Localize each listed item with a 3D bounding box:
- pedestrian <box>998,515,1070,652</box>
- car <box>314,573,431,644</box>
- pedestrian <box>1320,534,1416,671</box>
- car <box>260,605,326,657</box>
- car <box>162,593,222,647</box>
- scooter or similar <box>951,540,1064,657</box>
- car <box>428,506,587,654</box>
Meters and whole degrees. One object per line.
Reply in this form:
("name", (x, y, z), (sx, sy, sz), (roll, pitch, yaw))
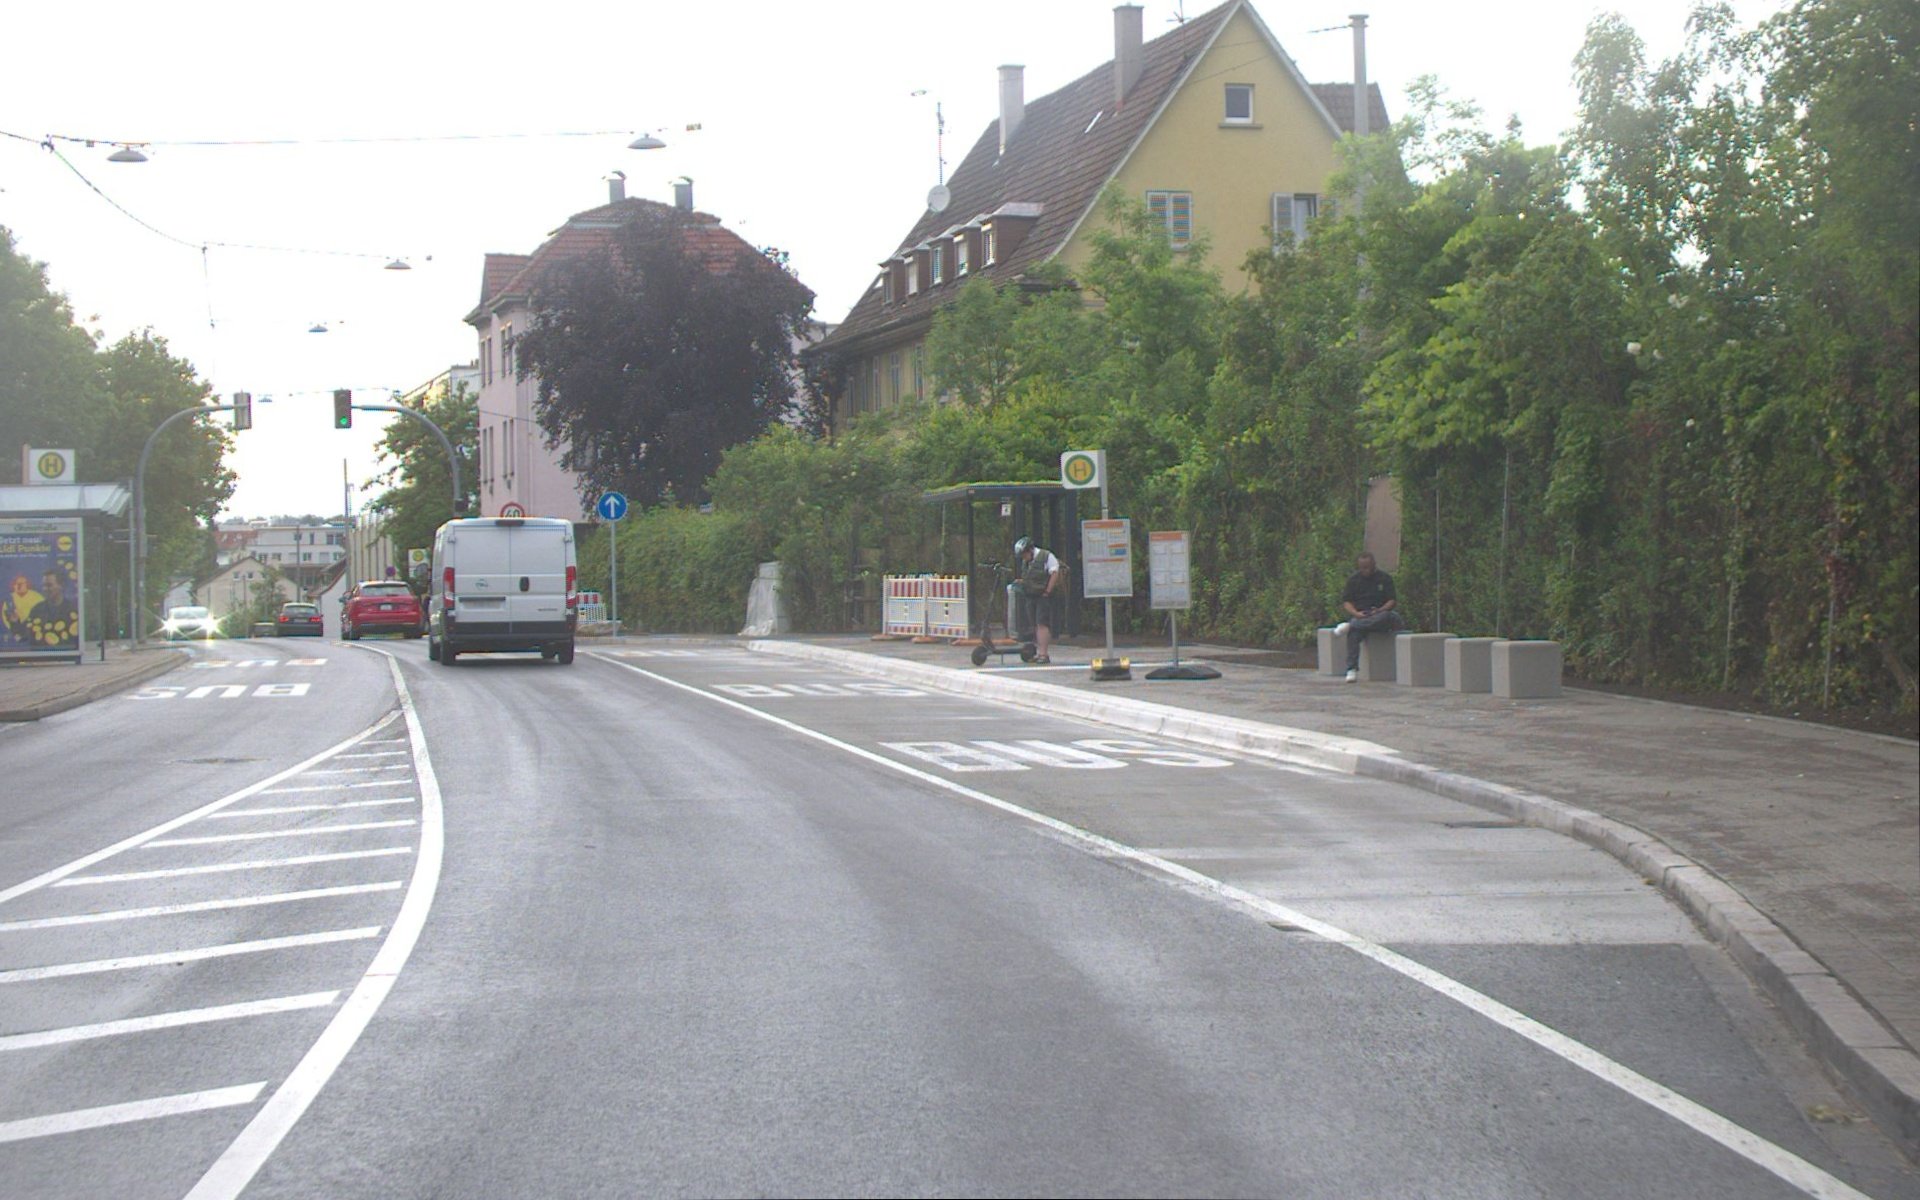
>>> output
("pedestrian", (0.954, -0.218, 44.184), (0.905, 1.725, 0.654), (1, 2, 2))
("car", (-14.457, 0.178, 84.441), (2.237, 1.651, 4.715), (-1, 1, -17))
("pedestrian", (4.204, 0.016, 35.491), (0.879, 1.362, 1.065), (0, 2, 1))
("car", (-24.546, 1.111, 126.420), (2.237, 1.798, 4.715), (-1, 1, -12))
("car", (-28.732, 0.728, 128.673), (1.993, 1.787, 4.002), (0, 3, -10))
("scooter or similar", (0.615, -0.035, 44.089), (0.497, 1.401, 1.552), (3, 5, 45))
("car", (-7.143, -0.338, 53.951), (2.237, 2.205, 4.714), (-1, 1, -10))
